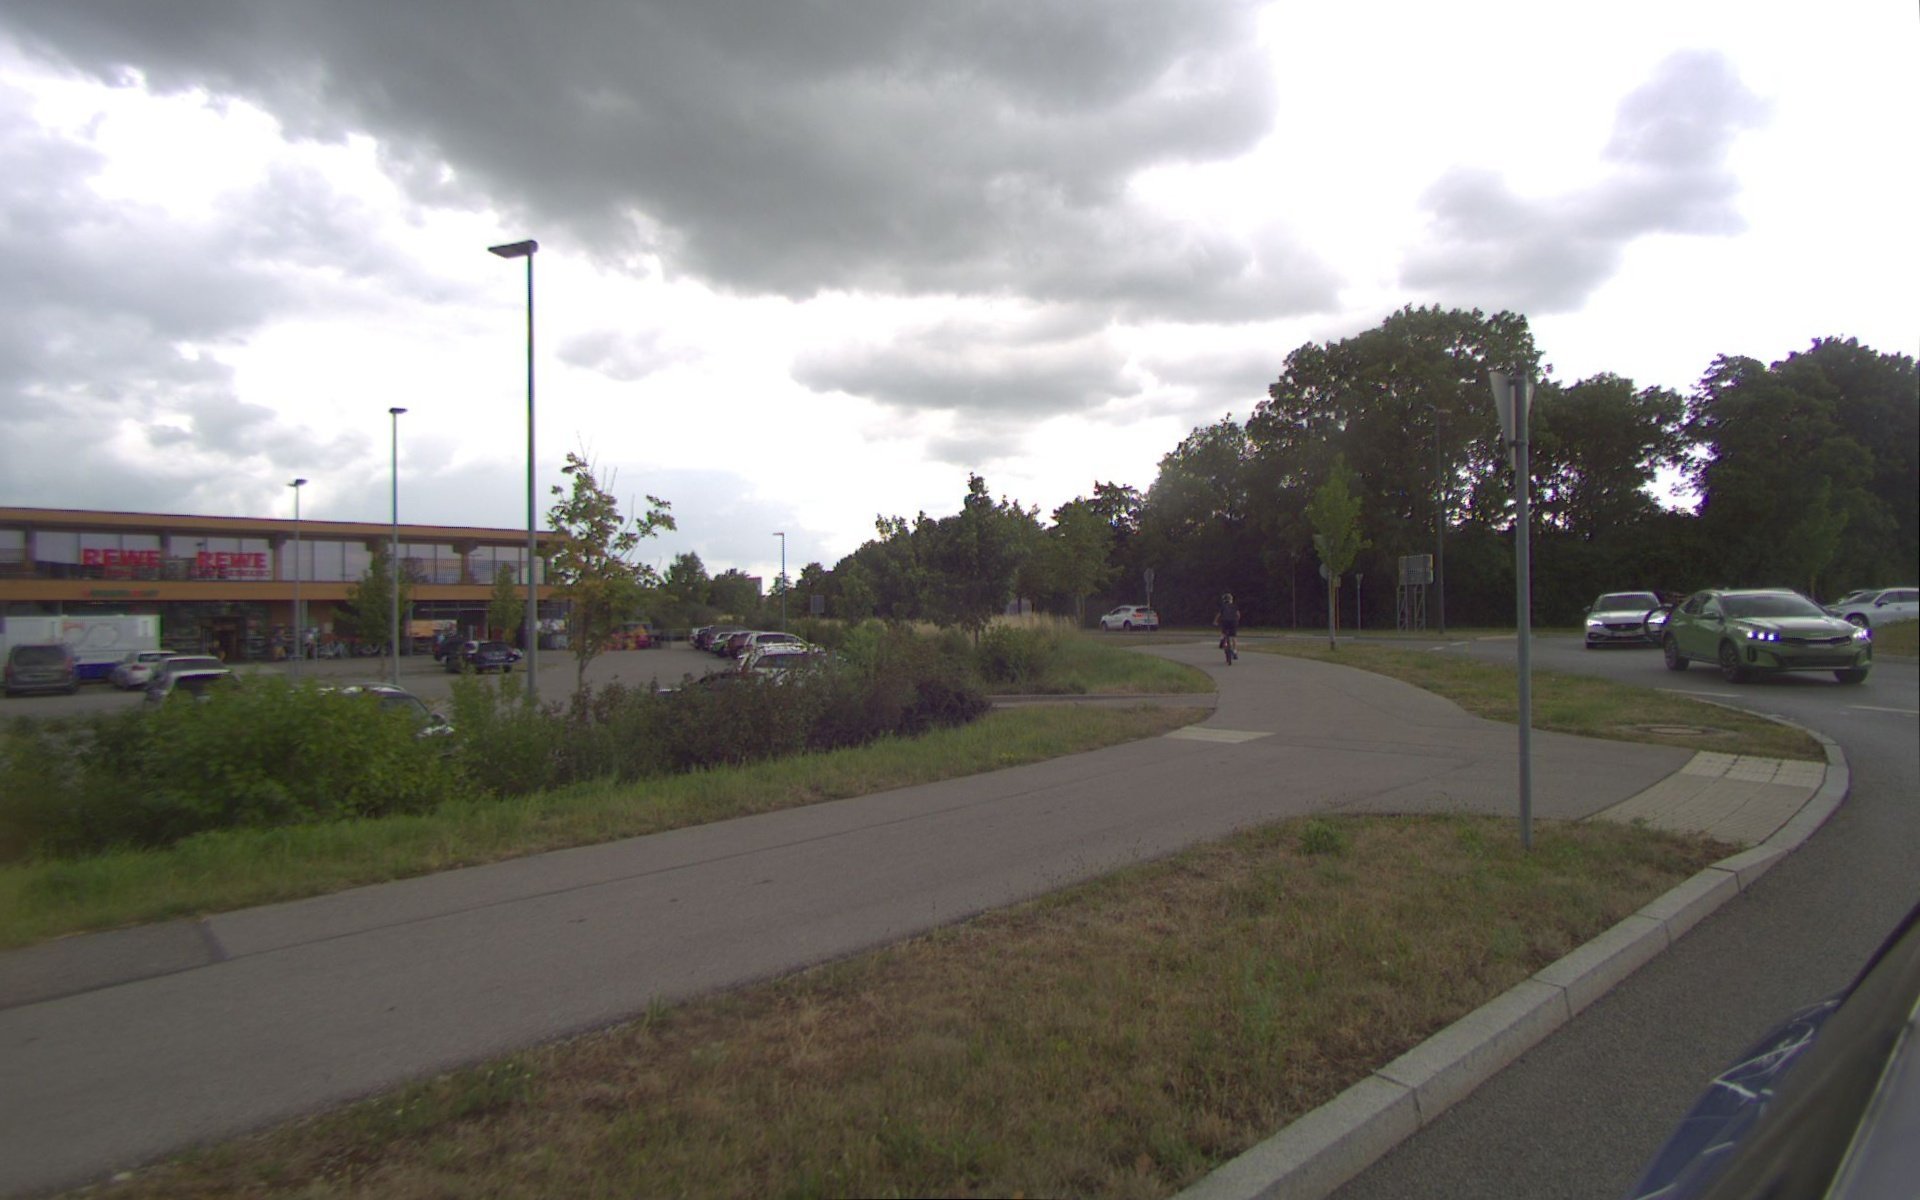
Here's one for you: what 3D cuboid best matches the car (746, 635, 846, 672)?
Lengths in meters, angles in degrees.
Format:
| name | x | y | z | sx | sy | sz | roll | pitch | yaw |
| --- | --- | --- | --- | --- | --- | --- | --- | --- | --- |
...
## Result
| name | x | y | z | sx | sy | sz | roll | pitch | yaw |
| --- | --- | --- | --- | --- | --- | --- | --- | --- | --- |
| car | -6.757 | 2.175 | 41.471 | 3.916 | 1.377 | 1.705 | 0 | 1 | -13 |

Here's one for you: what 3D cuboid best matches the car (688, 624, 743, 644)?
| name | x | y | z | sx | sy | sz | roll | pitch | yaw |
| --- | --- | --- | --- | --- | --- | --- | --- | --- | --- |
| car | -18.148 | 2.515 | 75.251 | 3.916 | 1.377 | 1.705 | 0 | 1 | -13 |

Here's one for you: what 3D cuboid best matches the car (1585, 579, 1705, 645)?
| name | x | y | z | sx | sy | sz | roll | pitch | yaw |
| --- | --- | --- | --- | --- | --- | --- | --- | --- | --- |
| car | 17.782 | 0.280 | 26.212 | 1.865 | 1.561 | 4.133 | -1 | 0 | 44 |

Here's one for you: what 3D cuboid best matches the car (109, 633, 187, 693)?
| name | x | y | z | sx | sy | sz | roll | pitch | yaw |
| --- | --- | --- | --- | --- | --- | --- | --- | --- | --- |
| car | -29.848 | 2.252 | 37.311 | 2.032 | 1.871 | 3.999 | 0 | 1 | -36 |

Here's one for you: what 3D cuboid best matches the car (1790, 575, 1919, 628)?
| name | x | y | z | sx | sy | sz | roll | pitch | yaw |
| --- | --- | --- | --- | --- | --- | --- | --- | --- | --- |
| car | 30.333 | 0.040 | 33.544 | 3.926 | 1.705 | 1.999 | 0 | 1 | 2 |

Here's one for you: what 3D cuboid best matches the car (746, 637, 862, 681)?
| name | x | y | z | sx | sy | sz | roll | pitch | yaw |
| --- | --- | --- | --- | --- | --- | --- | --- | --- | --- |
| car | -5.576 | 2.062 | 36.021 | 3.916 | 1.377 | 1.848 | 0 | 1 | -13 |

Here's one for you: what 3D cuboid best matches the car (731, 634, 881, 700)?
| name | x | y | z | sx | sy | sz | roll | pitch | yaw |
| --- | --- | --- | --- | --- | --- | --- | --- | --- | --- |
| car | -4.485 | 1.904 | 29.365 | 4.154 | 1.738 | 1.705 | 0 | 1 | -13 |

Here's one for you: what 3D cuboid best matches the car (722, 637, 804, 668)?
| name | x | y | z | sx | sy | sz | roll | pitch | yaw |
| --- | --- | --- | --- | --- | --- | --- | --- | --- | --- |
| car | -9.753 | 2.558 | 50.073 | 3.916 | 1.377 | 1.705 | 0 | 1 | -13 |

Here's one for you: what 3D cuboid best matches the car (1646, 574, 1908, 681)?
| name | x | y | z | sx | sy | sz | roll | pitch | yaw |
| --- | --- | --- | --- | --- | --- | --- | --- | --- | --- |
| car | 14.082 | 0.406 | 17.877 | 1.846 | 1.608 | 5.034 | -1 | 0 | 18 |

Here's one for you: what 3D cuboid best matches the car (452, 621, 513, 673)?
| name | x | y | z | sx | sy | sz | roll | pitch | yaw |
| --- | --- | --- | --- | --- | --- | --- | --- | --- | --- |
| car | -21.319 | 2.053 | 45.129 | 1.961 | 2.039 | 4.002 | 0 | 1 | -32 |

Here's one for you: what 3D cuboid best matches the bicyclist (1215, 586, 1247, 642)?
| name | x | y | z | sx | sy | sz | roll | pitch | yaw |
| --- | --- | --- | --- | --- | --- | --- | --- | --- | --- |
| bicyclist | 6.171 | 0.313 | 23.079 | 0.545 | 1.259 | 0.659 | 0 | 1 | -1 |

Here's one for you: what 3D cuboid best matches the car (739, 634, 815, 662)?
| name | x | y | z | sx | sy | sz | roll | pitch | yaw |
| --- | --- | --- | --- | --- | --- | --- | --- | --- | --- |
| car | -9.728 | 2.530 | 53.723 | 3.916 | 1.377 | 1.705 | 0 | 1 | -13 |

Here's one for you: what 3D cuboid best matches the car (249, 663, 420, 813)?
| name | x | y | z | sx | sy | sz | roll | pitch | yaw |
| --- | --- | --- | --- | --- | --- | --- | --- | --- | --- |
| car | -9.932 | 2.024 | 15.933 | 1.629 | 1.727 | 3.993 | 0 | 1 | -42 |

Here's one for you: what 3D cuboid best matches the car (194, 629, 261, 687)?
| name | x | y | z | sx | sy | sz | roll | pitch | yaw |
| --- | --- | --- | --- | --- | --- | --- | --- | --- | --- |
| car | -28.020 | 2.156 | 38.736 | 1.963 | 1.894 | 4.273 | 0 | 1 | -36 |

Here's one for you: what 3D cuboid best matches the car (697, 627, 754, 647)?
| name | x | y | z | sx | sy | sz | roll | pitch | yaw |
| --- | --- | --- | --- | --- | --- | --- | --- | --- | --- |
| car | -16.904 | 2.656 | 73.006 | 3.916 | 1.377 | 1.705 | 0 | 1 | -13 |

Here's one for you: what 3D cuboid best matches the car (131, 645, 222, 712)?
| name | x | y | z | sx | sy | sz | roll | pitch | yaw |
| --- | --- | --- | --- | --- | --- | --- | --- | --- | --- |
| car | -22.525 | 2.194 | 29.223 | 1.963 | 1.504 | 4.131 | 0 | 1 | -36 |

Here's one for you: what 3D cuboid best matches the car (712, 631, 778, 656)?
| name | x | y | z | sx | sy | sz | roll | pitch | yaw |
| --- | --- | --- | --- | --- | --- | --- | --- | --- | --- |
| car | -13.210 | 2.643 | 62.103 | 3.916 | 1.377 | 1.705 | 0 | 1 | -13 |

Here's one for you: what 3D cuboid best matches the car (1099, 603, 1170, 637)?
| name | x | y | z | sx | sy | sz | roll | pitch | yaw |
| --- | --- | --- | --- | --- | --- | --- | --- | --- | --- |
| car | 10.021 | 1.139 | 58.445 | 1.959 | 1.794 | 4.080 | 0 | 1 | -27 |

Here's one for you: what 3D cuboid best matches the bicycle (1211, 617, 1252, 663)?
| name | x | y | z | sx | sy | sz | roll | pitch | yaw |
| --- | --- | --- | --- | --- | --- | --- | --- | --- | --- |
| bicycle | 6.170 | 0.891 | 23.074 | 0.557 | 0.974 | 1.301 | 0 | 1 | -1 |

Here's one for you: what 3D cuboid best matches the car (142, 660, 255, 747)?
| name | x | y | z | sx | sy | sz | roll | pitch | yaw |
| --- | --- | --- | --- | --- | --- | --- | --- | --- | --- |
| car | -17.305 | 2.269 | 22.947 | 1.771 | 1.728 | 3.385 | 0 | -2 | -42 |

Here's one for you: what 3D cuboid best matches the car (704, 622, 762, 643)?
| name | x | y | z | sx | sy | sz | roll | pitch | yaw |
| --- | --- | --- | --- | --- | --- | --- | --- | --- | --- |
| car | -15.823 | 2.279 | 70.568 | 3.916 | 1.377 | 1.705 | 0 | 1 | -13 |

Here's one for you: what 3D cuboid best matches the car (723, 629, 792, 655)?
| name | x | y | z | sx | sy | sz | roll | pitch | yaw |
| --- | --- | --- | --- | --- | --- | --- | --- | --- | --- |
| car | -11.873 | 2.463 | 59.270 | 3.916 | 1.377 | 1.705 | 0 | 1 | -13 |

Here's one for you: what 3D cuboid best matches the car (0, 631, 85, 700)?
| name | x | y | z | sx | sy | sz | roll | pitch | yaw |
| --- | --- | --- | --- | --- | --- | --- | --- | --- | --- |
| car | -31.806 | 2.205 | 34.990 | 2.032 | 2.039 | 3.999 | 0 | 1 | -36 |
